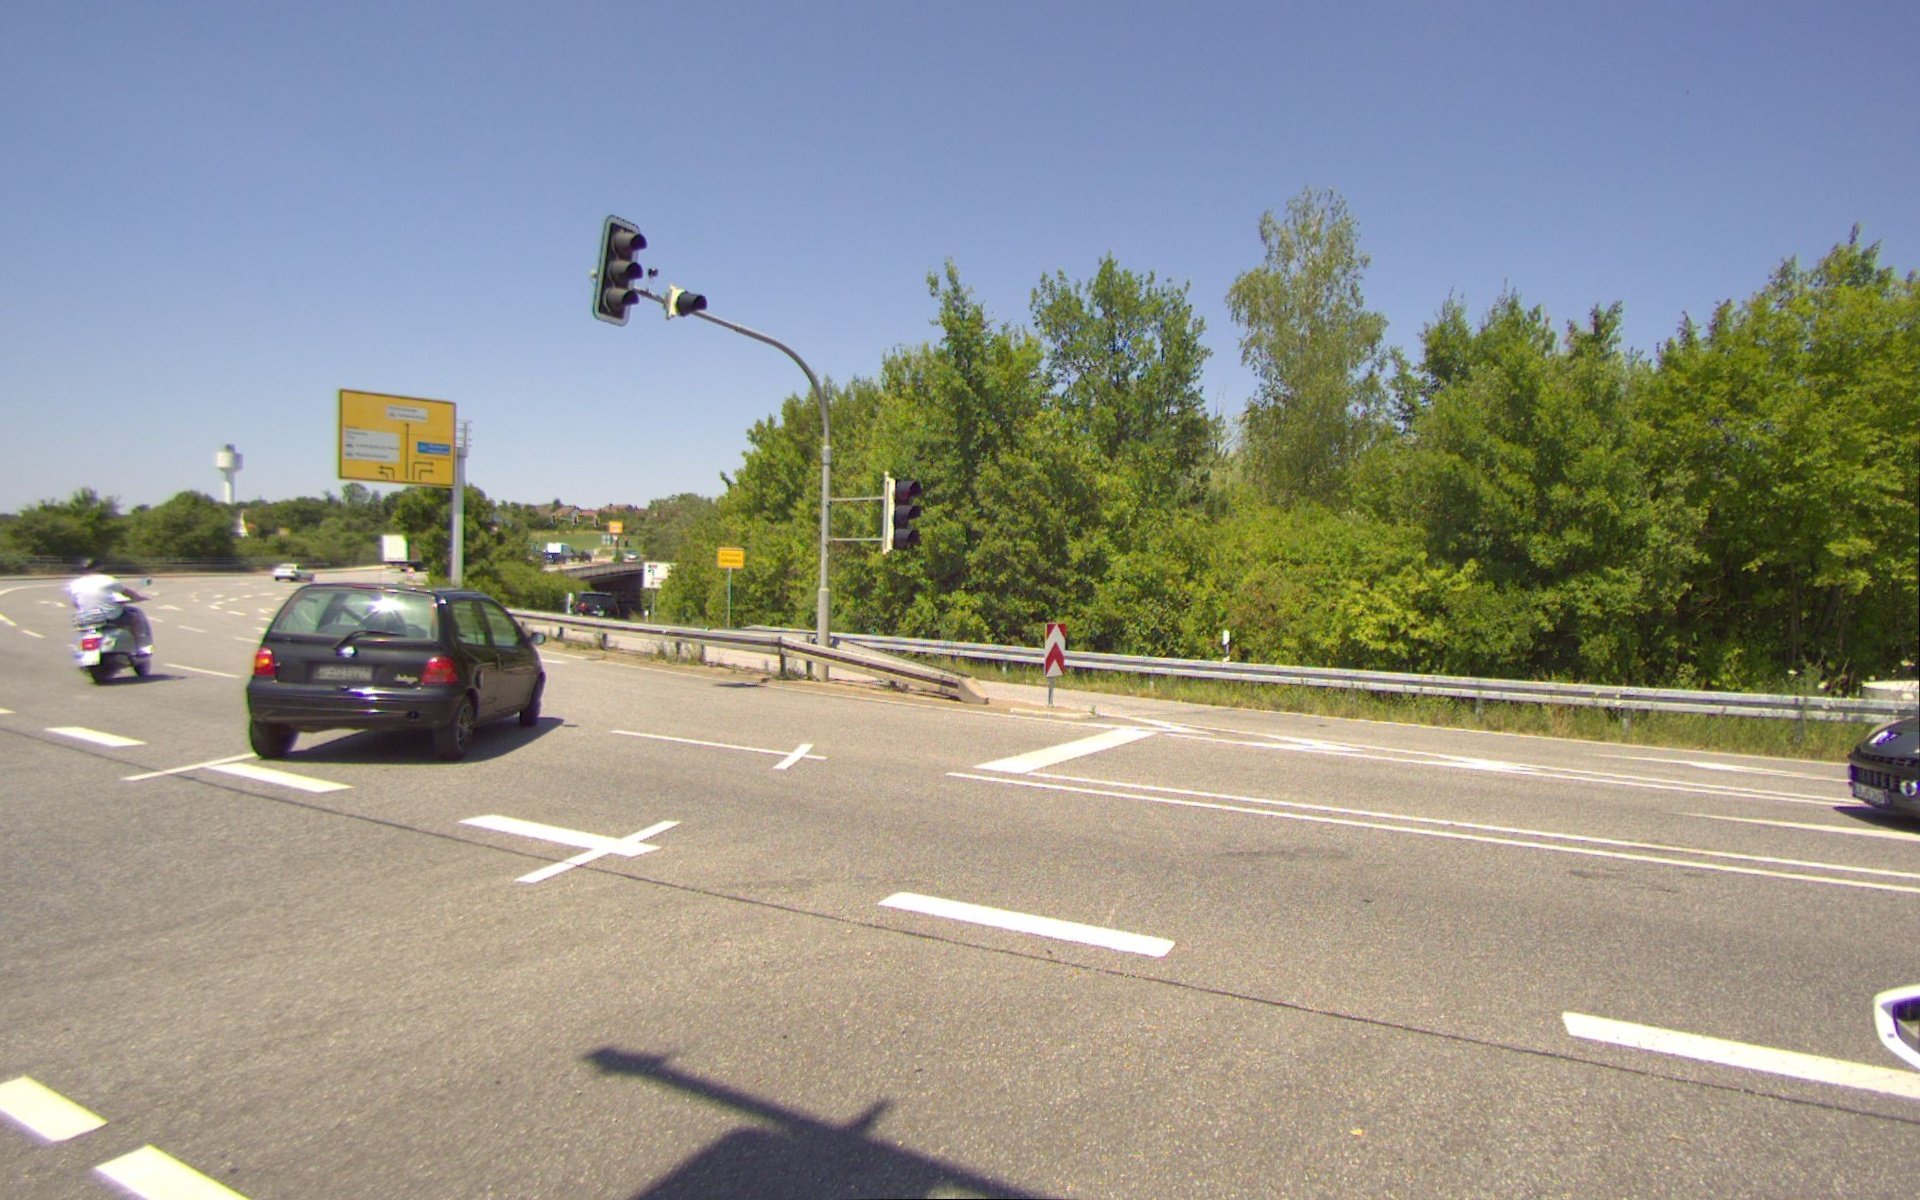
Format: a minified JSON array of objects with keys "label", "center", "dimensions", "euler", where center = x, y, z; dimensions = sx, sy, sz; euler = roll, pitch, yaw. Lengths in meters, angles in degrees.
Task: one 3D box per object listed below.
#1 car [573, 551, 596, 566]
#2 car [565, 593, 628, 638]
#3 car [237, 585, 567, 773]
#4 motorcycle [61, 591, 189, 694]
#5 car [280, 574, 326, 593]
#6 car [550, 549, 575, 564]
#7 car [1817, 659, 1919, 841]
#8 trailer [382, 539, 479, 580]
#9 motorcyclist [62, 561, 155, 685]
[{"label":"car","center":[-54.150,-5.921,144.893],"dimensions":[1.961,2.041,3.999],"euler":[2,1,-1]},{"label":"car","center":[-15.434,0.629,42.484],"dimensions":[1.881,1.653,4.246],"euler":[6,-2,-27]},{"label":"car","center":[-4.920,0.639,9.378],"dimensions":[1.595,1.426,3.296],"euler":[0,-1,-8]},{"label":"motorcycle","center":[-11.089,0.527,13.418],"dimensions":[0.569,1.255,1.934],"euler":[2,0,-17]},{"label":"car","center":[-55.523,-1.362,84.928],"dimensions":[1.617,1.413,3.985],"euler":[4,-1,-8]},{"label":"car","center":[-57.223,-6.222,144.630],"dimensions":[1.961,2.041,3.999],"euler":[2,1,-1]},{"label":"car","center":[9.401,1.241,7.744],"dimensions":[3.890,1.370,1.651],"euler":[2,-2,20]},{"label":"trailer","center":[-60.425,-4.691,115.307],"dimensions":[3.179,4.306,15.401],"euler":[2,3,-1]},{"label":"motorcyclist","center":[-11.163,0.288,13.196],"dimensions":[0.603,1.560,0.843],"euler":[2,1,-17]}]
